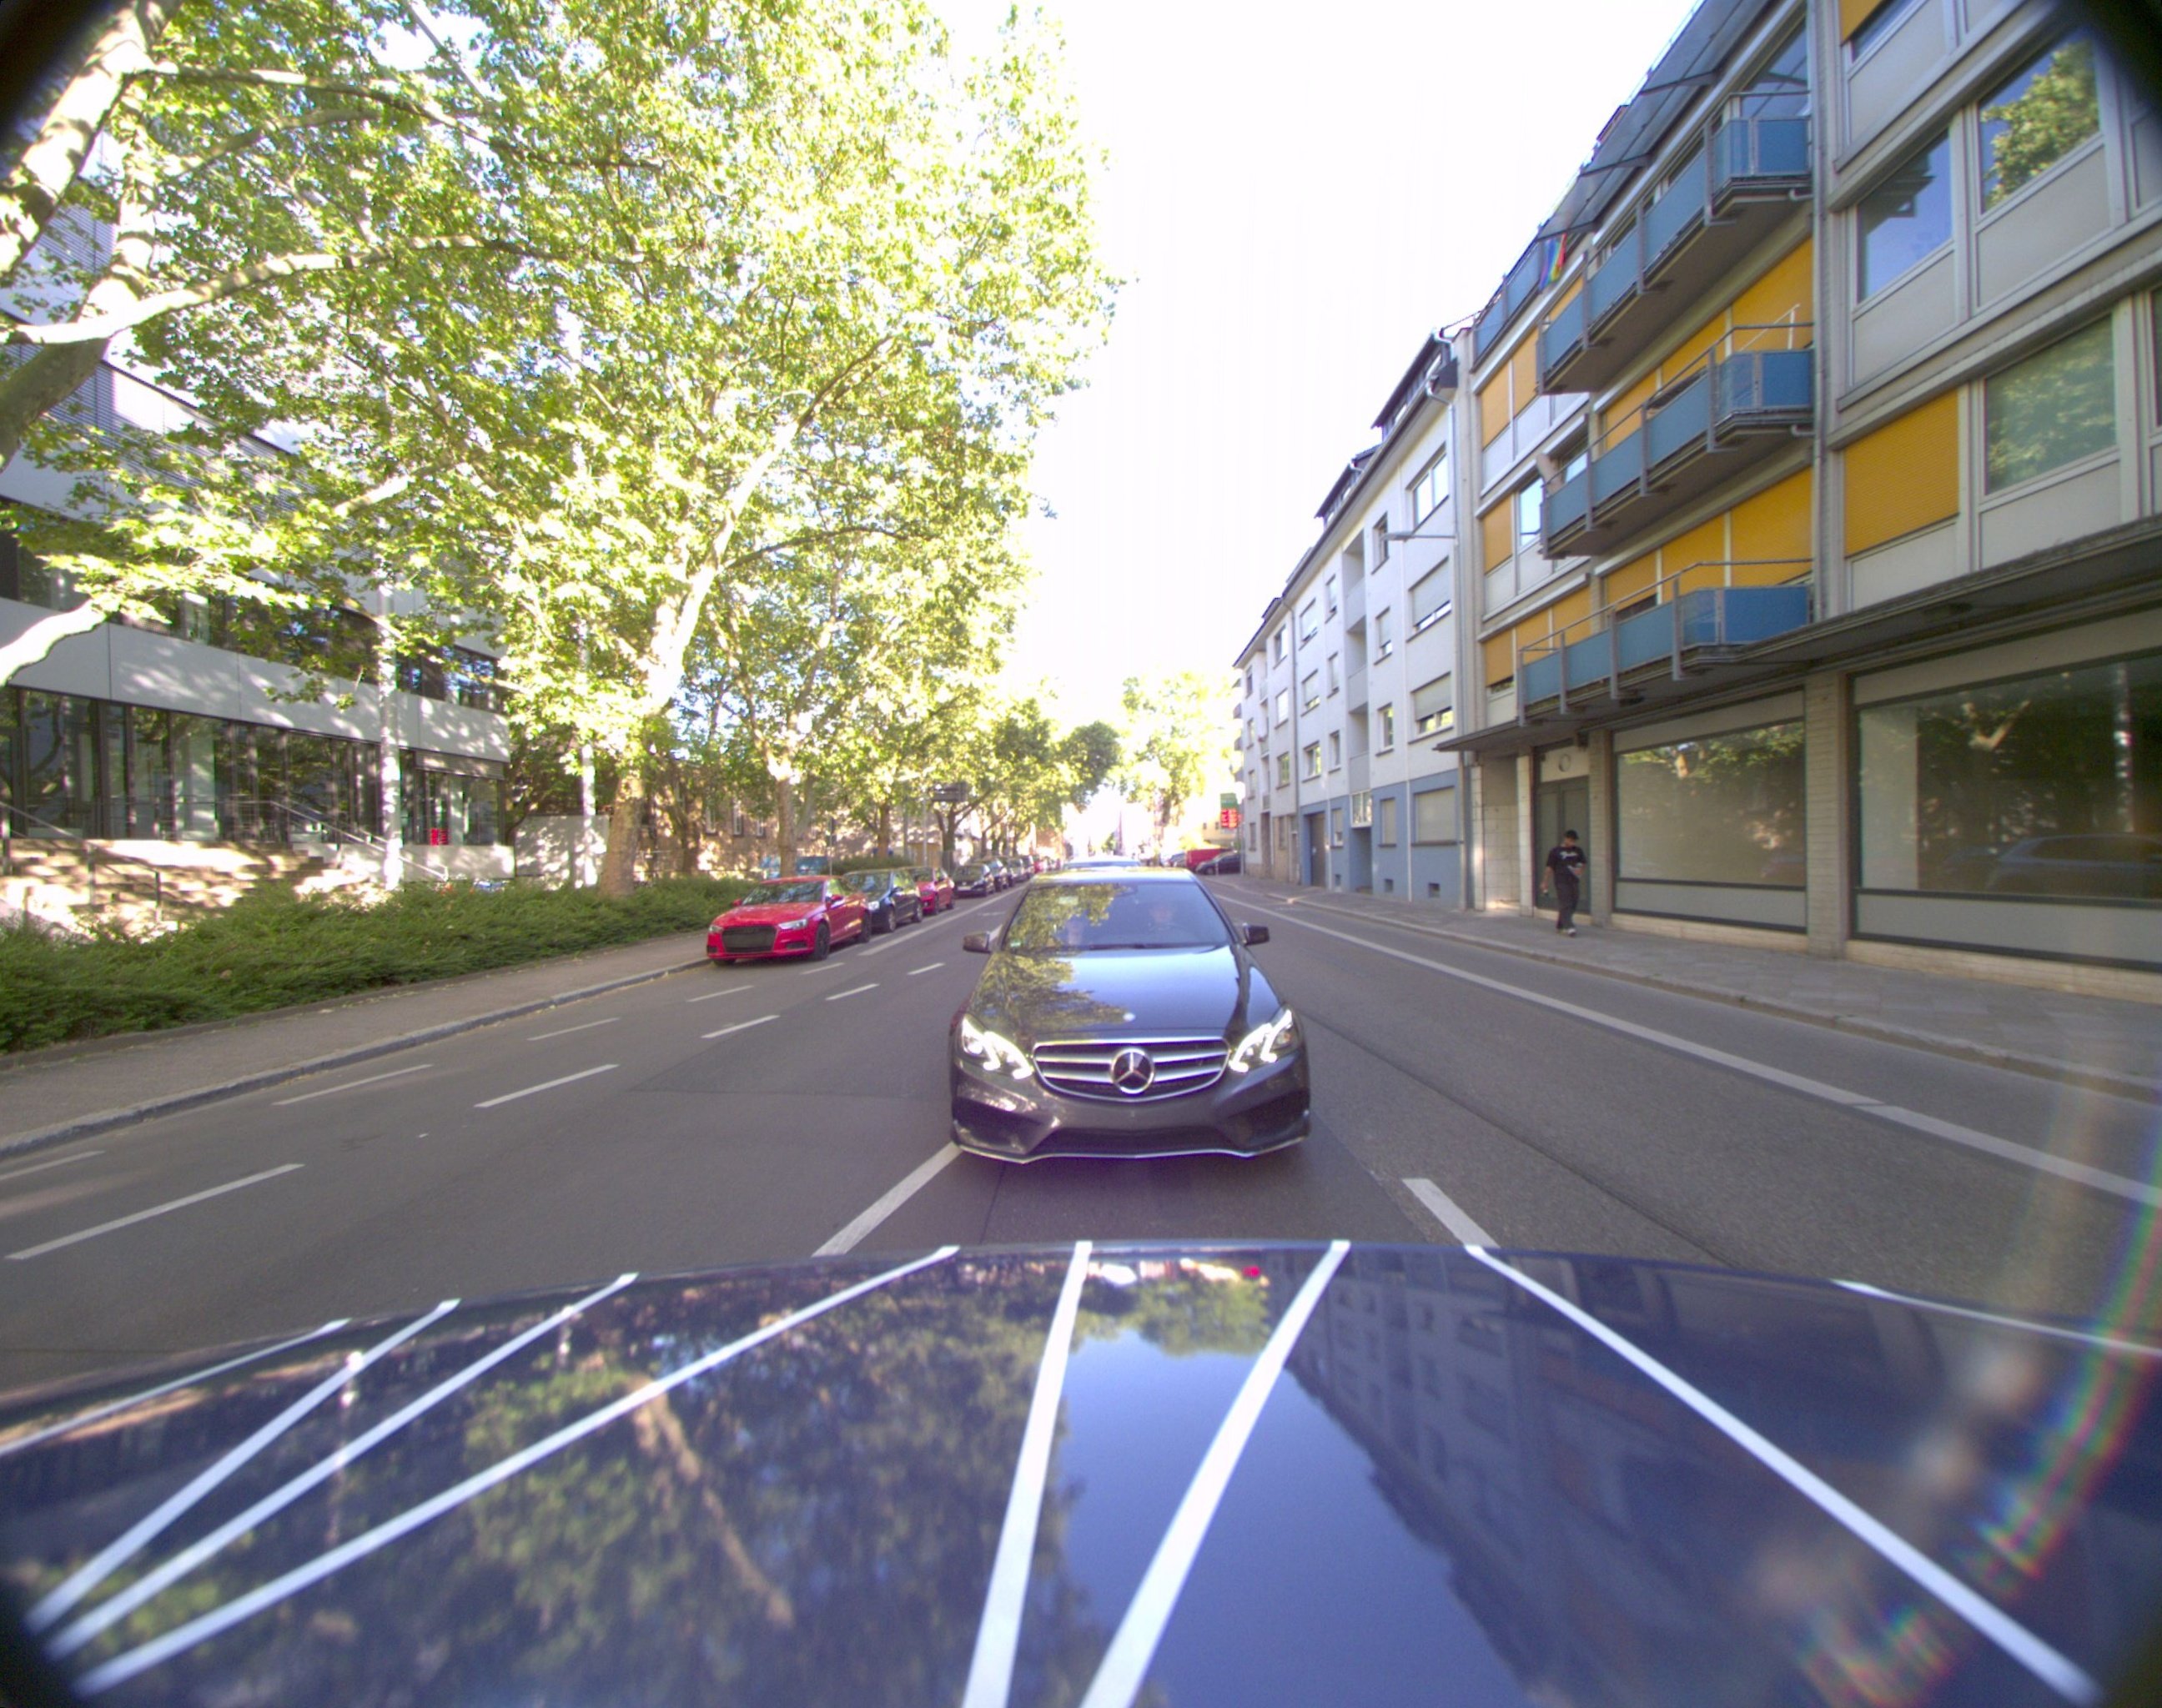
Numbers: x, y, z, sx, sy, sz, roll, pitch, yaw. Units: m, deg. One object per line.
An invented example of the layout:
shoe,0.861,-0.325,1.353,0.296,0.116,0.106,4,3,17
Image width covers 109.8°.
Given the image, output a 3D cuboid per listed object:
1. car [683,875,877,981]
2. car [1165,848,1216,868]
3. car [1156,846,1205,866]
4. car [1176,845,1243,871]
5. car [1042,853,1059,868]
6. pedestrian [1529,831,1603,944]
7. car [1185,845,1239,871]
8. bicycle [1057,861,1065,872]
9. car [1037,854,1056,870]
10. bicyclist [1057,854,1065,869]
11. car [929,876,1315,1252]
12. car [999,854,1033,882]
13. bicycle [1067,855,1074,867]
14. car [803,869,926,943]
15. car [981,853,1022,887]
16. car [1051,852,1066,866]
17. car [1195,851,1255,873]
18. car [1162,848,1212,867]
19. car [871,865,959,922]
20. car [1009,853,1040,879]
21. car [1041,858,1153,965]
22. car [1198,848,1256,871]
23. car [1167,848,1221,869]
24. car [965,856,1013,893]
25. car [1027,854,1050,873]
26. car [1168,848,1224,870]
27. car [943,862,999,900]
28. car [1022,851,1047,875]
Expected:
car,-5.128,1.186,13.587,1.755,1.400,4.000,-3,0,1
car,11.279,0.382,78.710,4.991,1.926,2.083,-2,0,1
car,11.182,0.211,85.512,5.143,2.135,2.187,-2,0,1
car,10.630,0.303,63.096,5.223,1.969,2.257,-2,0,1
car,-3.656,0.780,92.994,1.755,1.652,4.447,-3,0,1
pedestrian,7.900,0.534,12.399,0.663,1.761,0.793,-2,1,1
car,10.325,0.309,60.071,3.997,1.926,1.867,-2,0,1
bicycle,-1.935,1.226,73.334,0.650,1.053,1.595,-1,0,1
car,-3.784,0.877,83.504,1.755,1.652,4.447,-3,0,1
bicyclist,-1.947,0.710,73.340,0.650,1.427,0.741,-1,1,1
car,0.209,0.988,5.347,1.667,1.499,4.000,-1,0,1
car,-4.278,0.885,50.934,1.755,1.718,4.447,-3,0,1
bicycle,-1.041,0.674,73.273,0.574,1.053,1.595,-1,0,1
car,-5.089,1.176,18.432,1.755,1.424,3.909,-3,0,1
car,-4.559,0.876,44.052,1.755,1.810,4.447,-3,0,1
car,-3.024,0.657,103.193,1.755,1.652,4.447,-3,0,1
car,10.351,0.571,54.772,3.997,1.412,1.743,-2,0,1
car,11.315,0.357,81.175,5.042,1.926,2.315,-2,0,1
car,-5.039,1.150,23.645,1.755,1.459,3.909,-3,0,1
car,-4.108,0.828,55.745,1.755,1.753,4.447,-3,0,1
car,0.267,0.891,13.599,1.667,1.563,4.000,-1,0,1
car,10.907,0.400,56.982,3.997,1.552,1.743,-2,0,1
car,11.265,0.414,76.212,5.054,1.926,2.161,-2,0,1
car,-4.568,0.981,38.253,1.755,1.644,4.174,-3,0,1
car,-4.010,0.909,72.165,1.755,1.652,4.447,-3,0,1
car,11.092,0.453,73.512,5.143,1.926,2.187,-2,0,1
car,-4.755,1.122,33.283,1.755,1.424,3.909,-3,0,1
car,-4.003,0.735,66.379,1.755,1.941,4.447,-3,0,1
